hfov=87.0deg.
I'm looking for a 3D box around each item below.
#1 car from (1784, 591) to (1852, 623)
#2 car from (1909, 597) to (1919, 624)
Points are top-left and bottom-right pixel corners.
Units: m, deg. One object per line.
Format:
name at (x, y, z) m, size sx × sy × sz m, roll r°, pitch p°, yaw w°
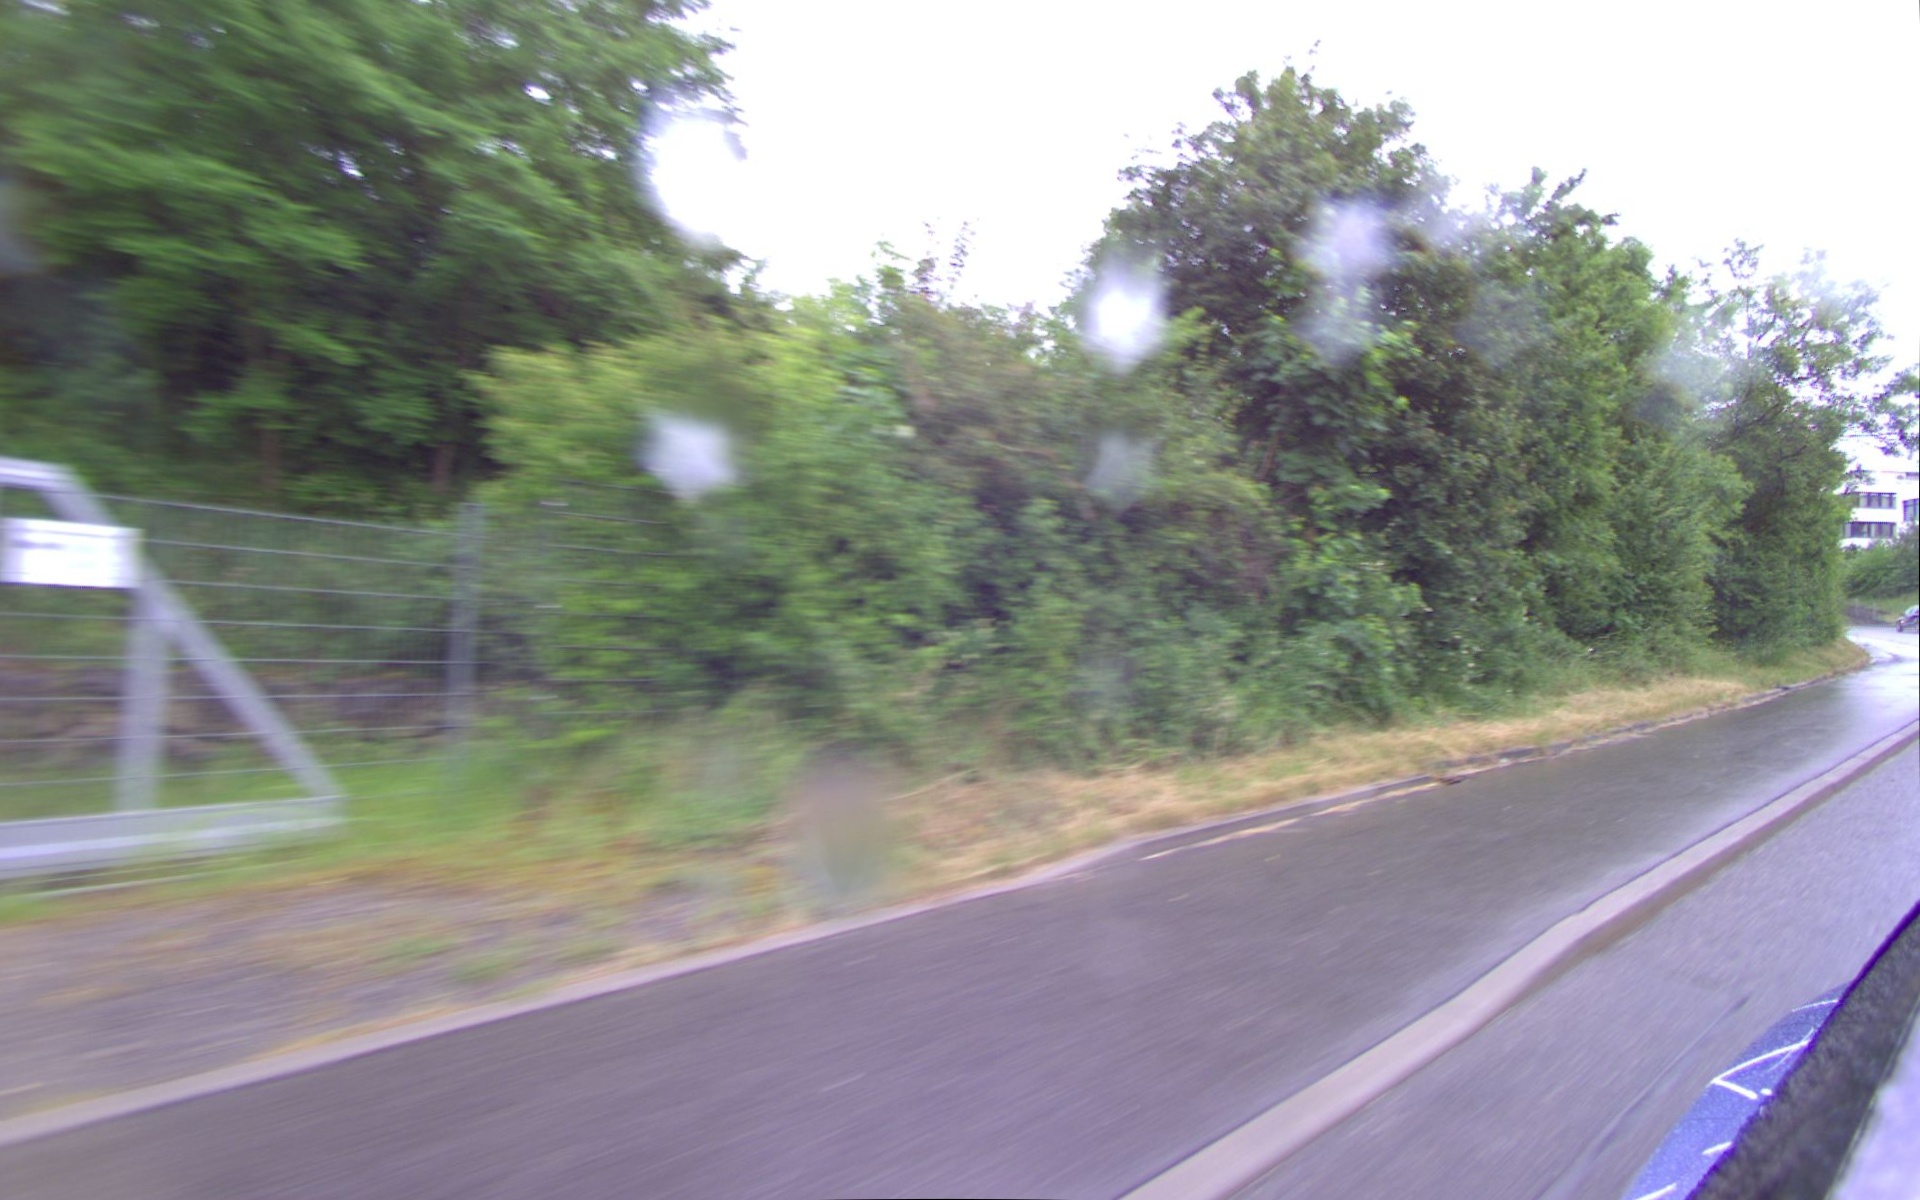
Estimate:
car at (68.754, 0.593, 81.227) m, size 2.023 × 2.449 × 5.425 m, roll -1°, pitch -1°, yaw 16°
car at (56.447, 0.588, 58.128) m, size 1.854 × 1.572 × 4.219 m, roll -2°, pitch -2°, yaw 30°
